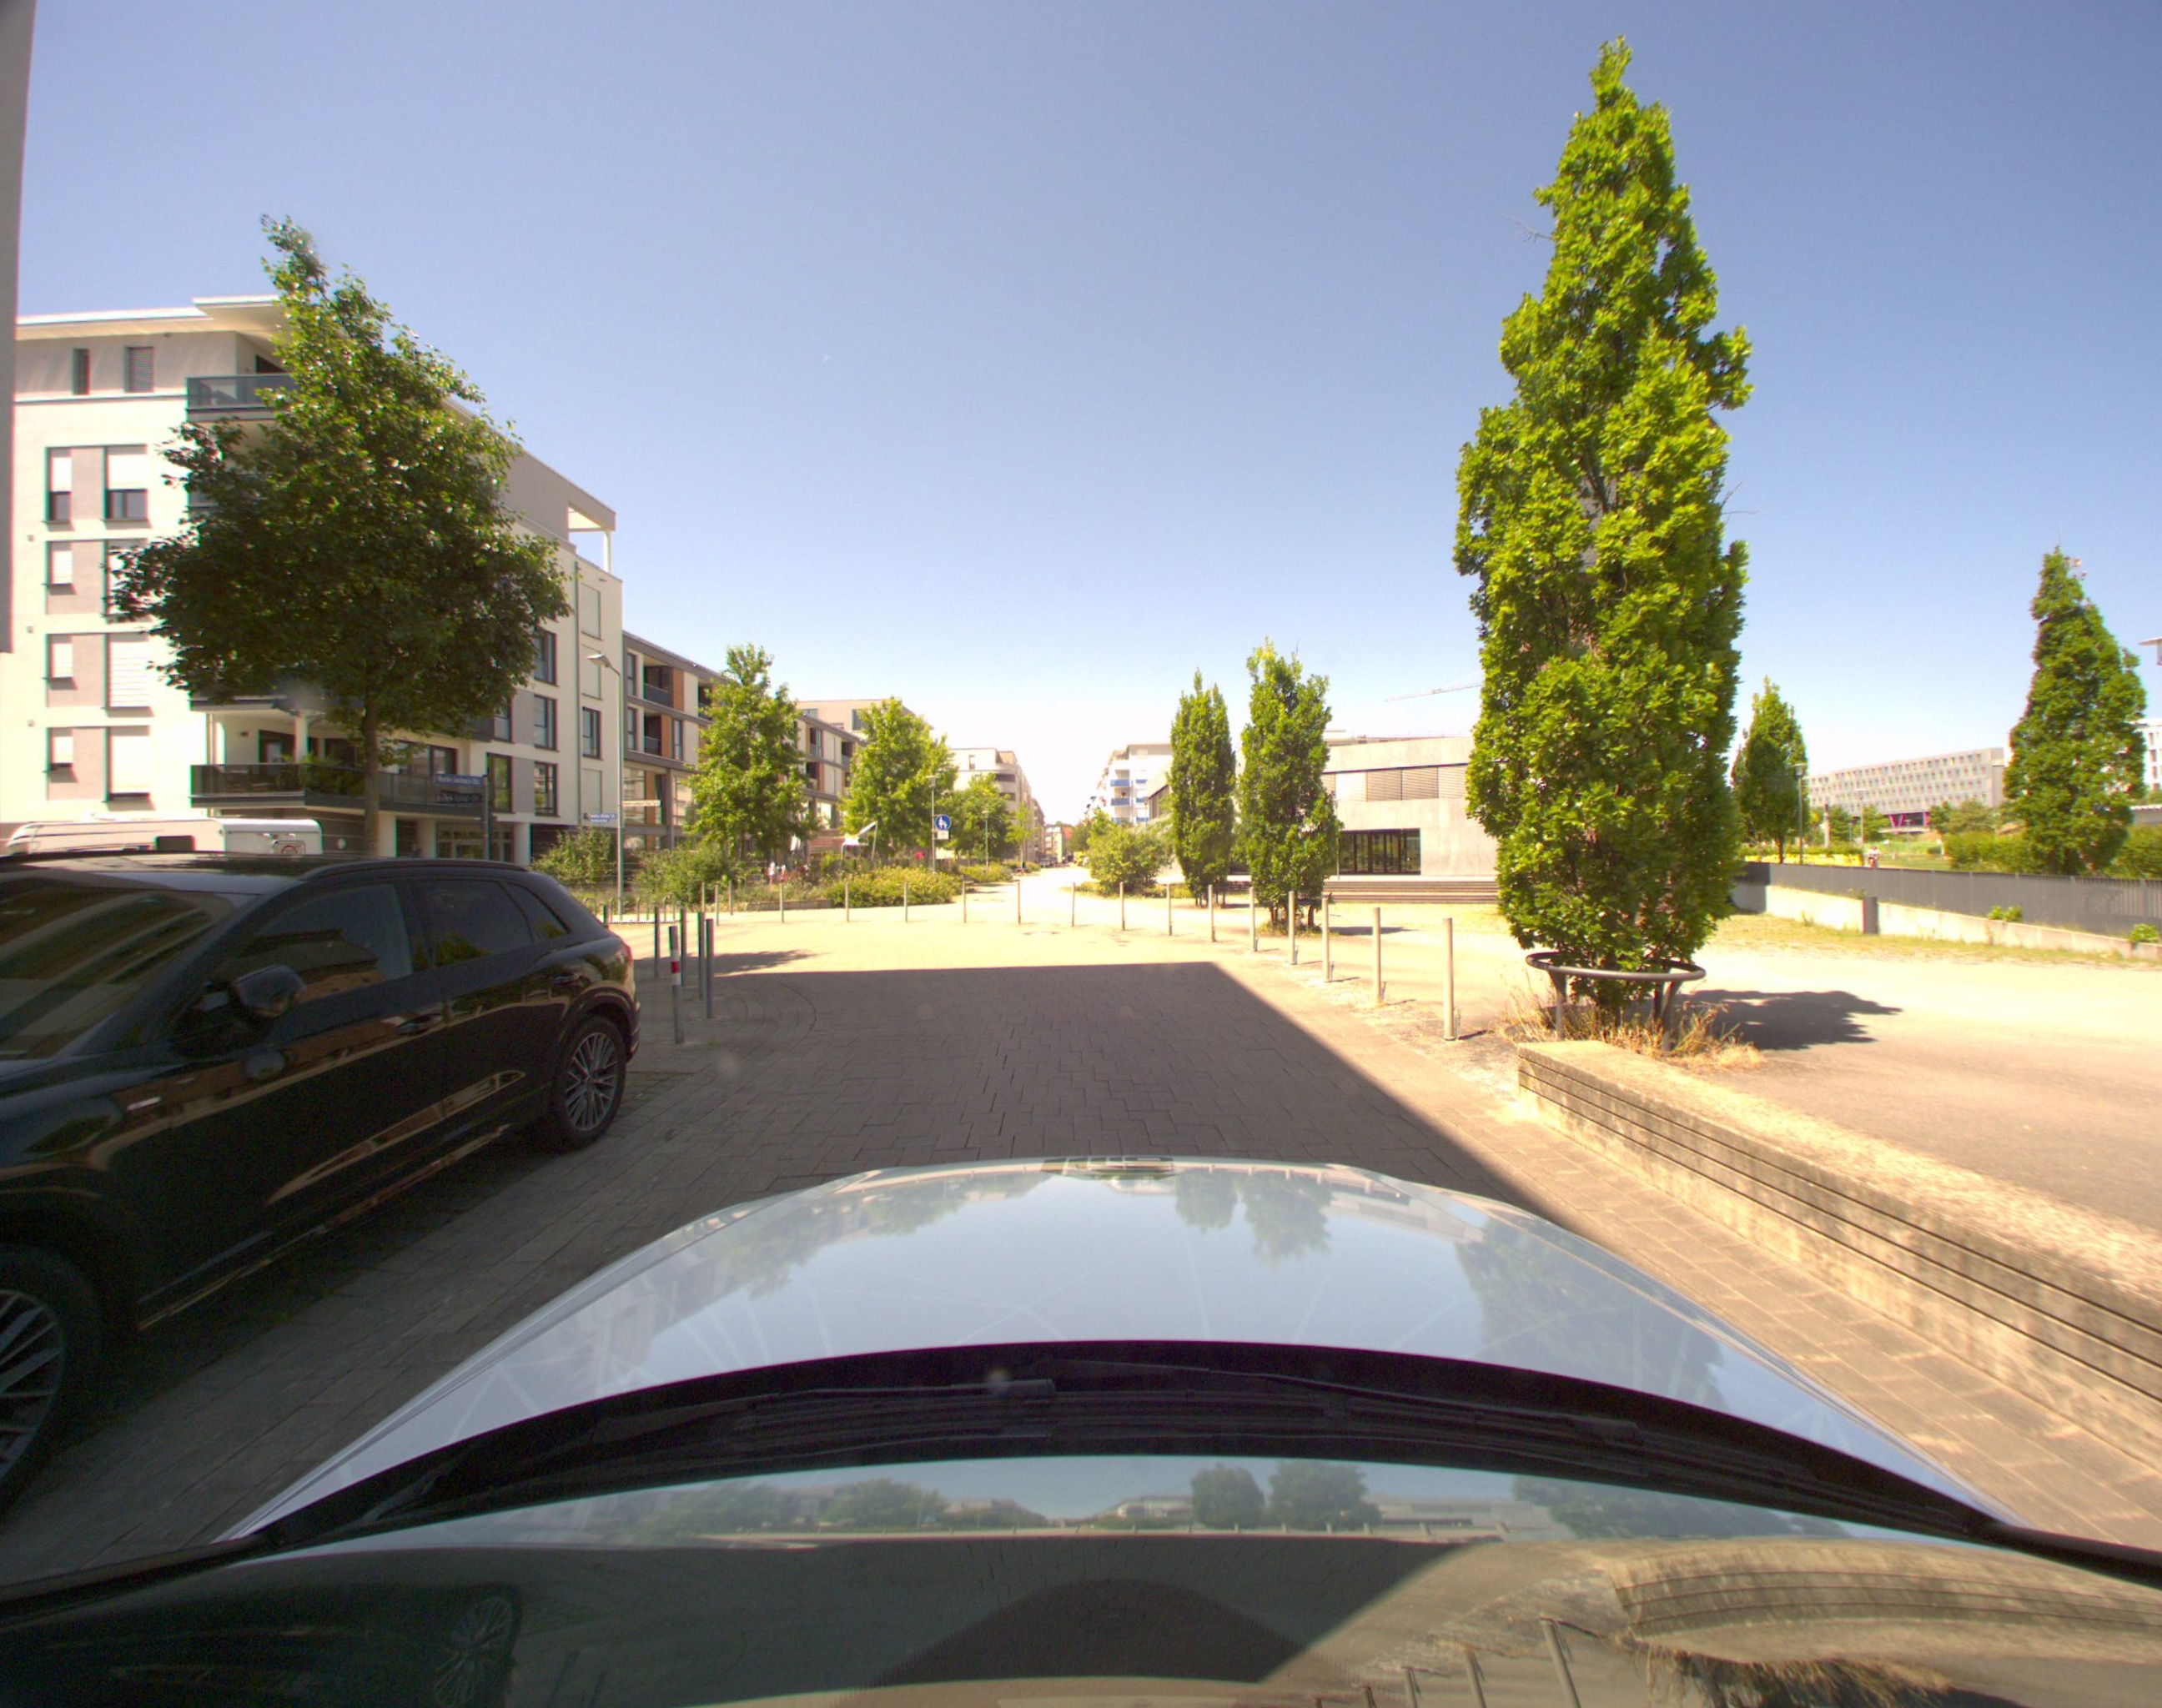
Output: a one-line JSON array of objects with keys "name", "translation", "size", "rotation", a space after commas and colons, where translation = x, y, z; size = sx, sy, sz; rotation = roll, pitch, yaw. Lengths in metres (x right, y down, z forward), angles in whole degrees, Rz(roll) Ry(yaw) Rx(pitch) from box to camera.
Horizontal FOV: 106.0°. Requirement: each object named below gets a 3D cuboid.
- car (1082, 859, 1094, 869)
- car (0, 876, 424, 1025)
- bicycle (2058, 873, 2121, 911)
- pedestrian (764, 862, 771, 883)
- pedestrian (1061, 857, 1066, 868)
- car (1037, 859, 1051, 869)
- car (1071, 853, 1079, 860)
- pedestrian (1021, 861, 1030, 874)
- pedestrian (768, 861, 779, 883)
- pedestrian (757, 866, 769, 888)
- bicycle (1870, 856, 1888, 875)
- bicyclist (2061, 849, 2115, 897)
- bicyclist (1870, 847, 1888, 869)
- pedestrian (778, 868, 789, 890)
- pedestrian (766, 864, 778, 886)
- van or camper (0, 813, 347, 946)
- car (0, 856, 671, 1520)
[{"name": "car", "translation": [1.176, 1.588, 132.379], "size": [1.986, 1.609, 4.000], "rotation": [-1, -1, 1]}, {"name": "car", "translation": [-12.079, 1.113, 11.164], "size": [1.915, 1.485, 5.116], "rotation": [-2, -1, 1]}, {"name": "bicycle", "translation": [31.424, 1.159, 25.398], "size": [0.788, 1.118, 1.927], "rotation": [-2, -1, 38]}, {"name": "pedestrian", "translation": [-15.480, 0.914, 40.195], "size": [0.322, 1.053, 0.288], "rotation": [0, -1, -20]}, {"name": "pedestrian", "translation": [-2.521, 1.279, 120.790], "size": [0.692, 1.529, 0.599], "rotation": [-1, -1, 1]}, {"name": "car", "translation": [-6.327, 1.754, 140.825], "size": [2.139, 1.652, 4.087], "rotation": [-1, -1, 0]}, {"name": "car", "translation": [-1.650, 0.686, 227.662], "size": [1.988, 2.014, 3.997], "rotation": [-1, -1, -1]}, {"name": "pedestrian", "translation": [-5.751, 1.422, 84.175], "size": [0.845, 1.348, 0.695], "rotation": [-1, -1, -1]}, {"name": "pedestrian", "translation": [-14.705, 0.856, 38.972], "size": [0.396, 1.026, 0.411], "rotation": [0, -2, -8]}, {"name": "pedestrian", "translation": [-15.245, 1.100, 39.015], "size": [0.310, 1.025, 0.414], "rotation": [-2, -2, 35]}, {"name": "bicycle", "translation": [50.883, 0.720, 51.926], "size": [0.583, 1.199, 1.954], "rotation": [-2, -1, 38]}, {"name": "bicyclist", "translation": [31.461, 0.589, 25.469], "size": [0.848, 1.455, 0.888], "rotation": [-2, -1, 38]}, {"name": "bicyclist", "translation": [50.864, 0.262, 51.910], "size": [0.724, 1.435, 0.665], "rotation": [-2, -1, 38]}, {"name": "pedestrian", "translation": [-13.561, 1.146, 37.144], "size": [0.384, 0.971, 0.291], "rotation": [-1, -1, 14]}, {"name": "pedestrian", "translation": [-14.021, 0.950, 36.924], "size": [0.279, 1.025, 0.414], "rotation": [-2, -2, 35]}, {"name": "van or camper", "translation": [-23.066, 0.639, 20.066], "size": [7.772, 2.906, 2.447], "rotation": [-2, -1, 1]}, {"name": "car", "translation": [-3.425, 0.777, 2.966], "size": [1.769, 1.519, 4.392], "rotation": [1, 0, -3]}]
